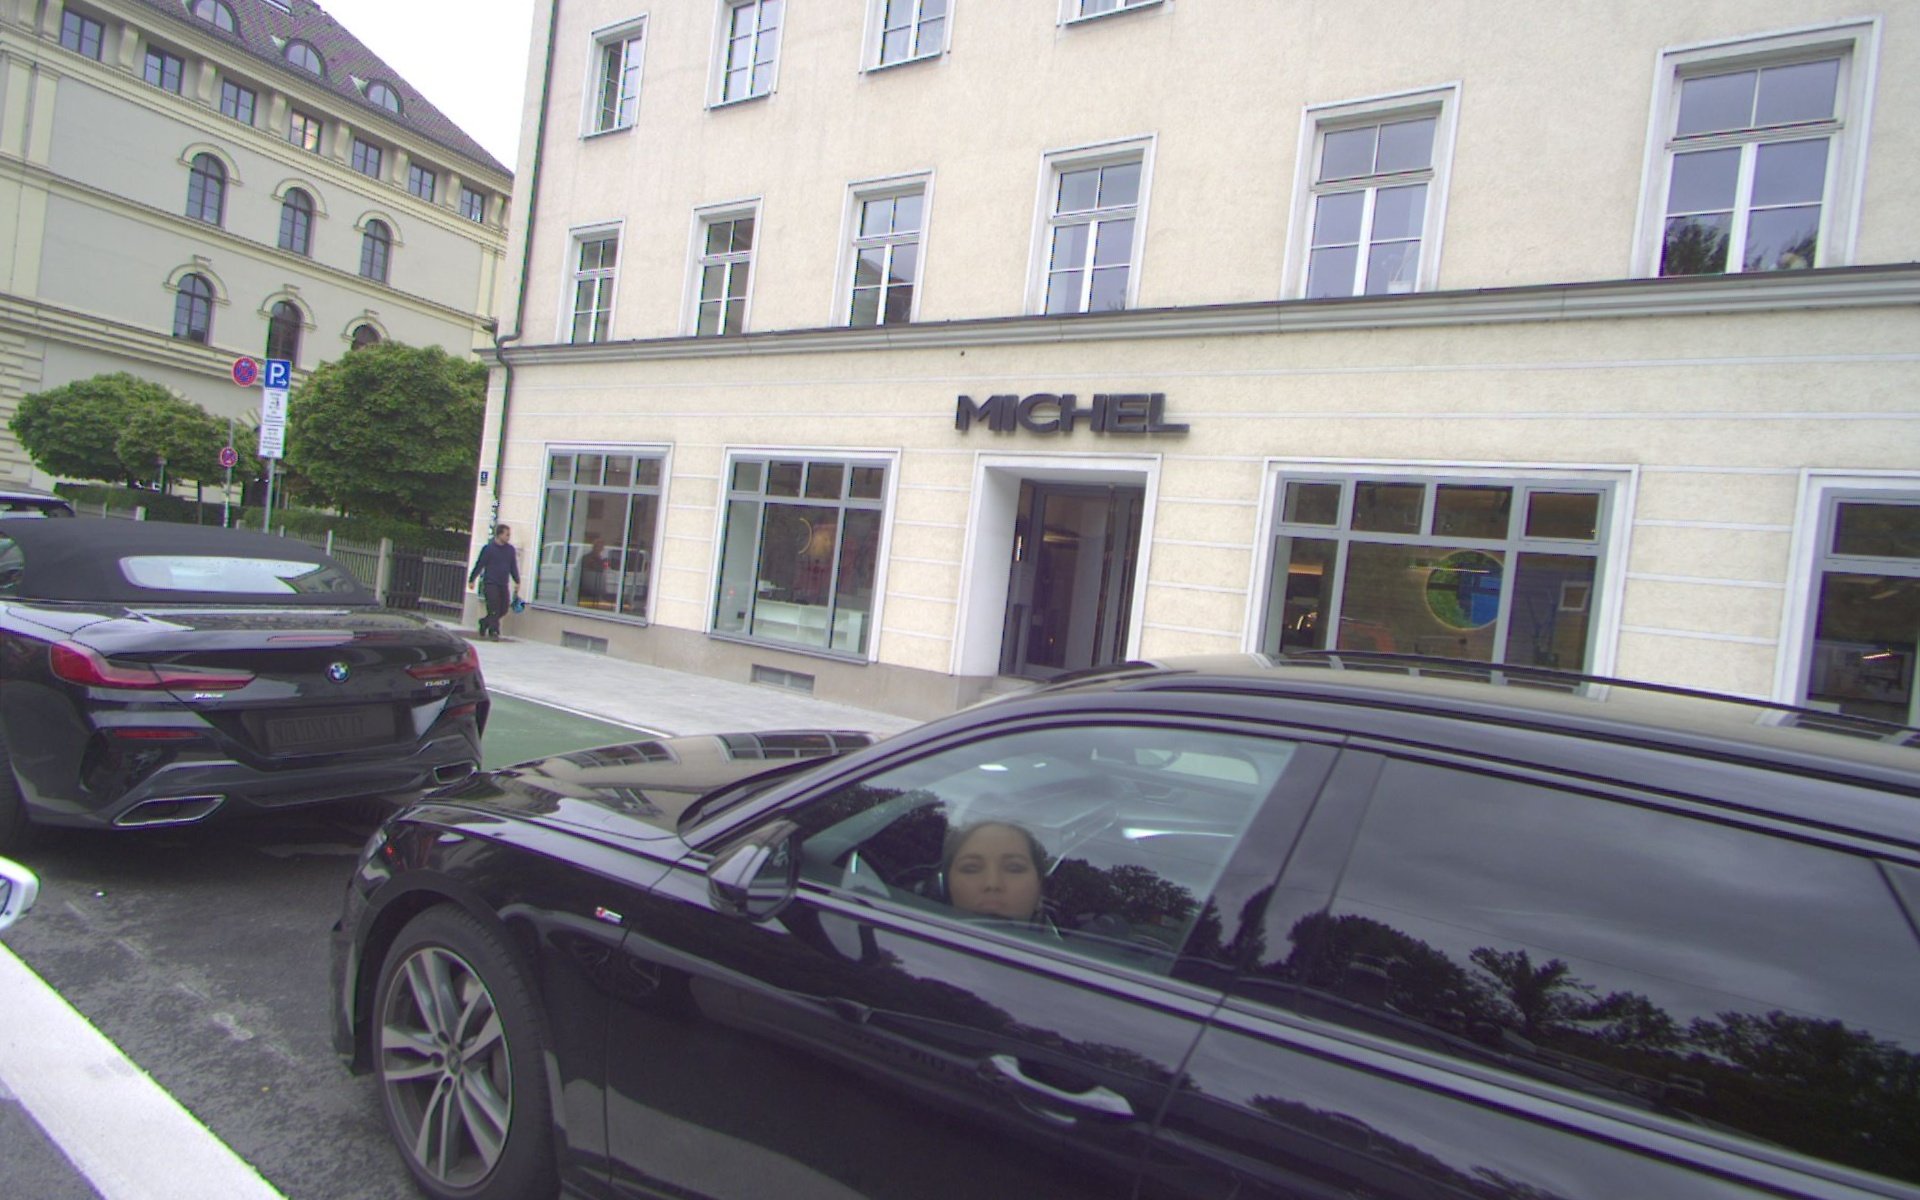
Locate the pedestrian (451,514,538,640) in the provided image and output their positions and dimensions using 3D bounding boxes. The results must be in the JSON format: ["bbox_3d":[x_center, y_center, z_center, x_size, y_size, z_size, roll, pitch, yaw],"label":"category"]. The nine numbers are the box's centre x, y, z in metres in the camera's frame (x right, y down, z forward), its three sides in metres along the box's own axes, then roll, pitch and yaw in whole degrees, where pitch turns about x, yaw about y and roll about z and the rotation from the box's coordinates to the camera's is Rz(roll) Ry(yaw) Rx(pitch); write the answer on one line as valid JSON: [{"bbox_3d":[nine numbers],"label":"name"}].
[{"bbox_3d":[-7.343,-0.354,15.882,0.764,1.859,0.790,8,1,34],"label":"pedestrian"}]

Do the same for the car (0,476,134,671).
[{"bbox_3d":[-8.911,-0.381,8.753,3.368,1.514,1.612,7,0,32],"label":"car"}]

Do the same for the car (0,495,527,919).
[{"bbox_3d":[-4.458,0.247,5.384,4.353,1.403,1.682,7,0,32],"label":"car"}]

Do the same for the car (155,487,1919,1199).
[{"bbox_3d":[0.372,0.768,2.294,4.607,1.498,1.805,7,0,30],"label":"car"}]
